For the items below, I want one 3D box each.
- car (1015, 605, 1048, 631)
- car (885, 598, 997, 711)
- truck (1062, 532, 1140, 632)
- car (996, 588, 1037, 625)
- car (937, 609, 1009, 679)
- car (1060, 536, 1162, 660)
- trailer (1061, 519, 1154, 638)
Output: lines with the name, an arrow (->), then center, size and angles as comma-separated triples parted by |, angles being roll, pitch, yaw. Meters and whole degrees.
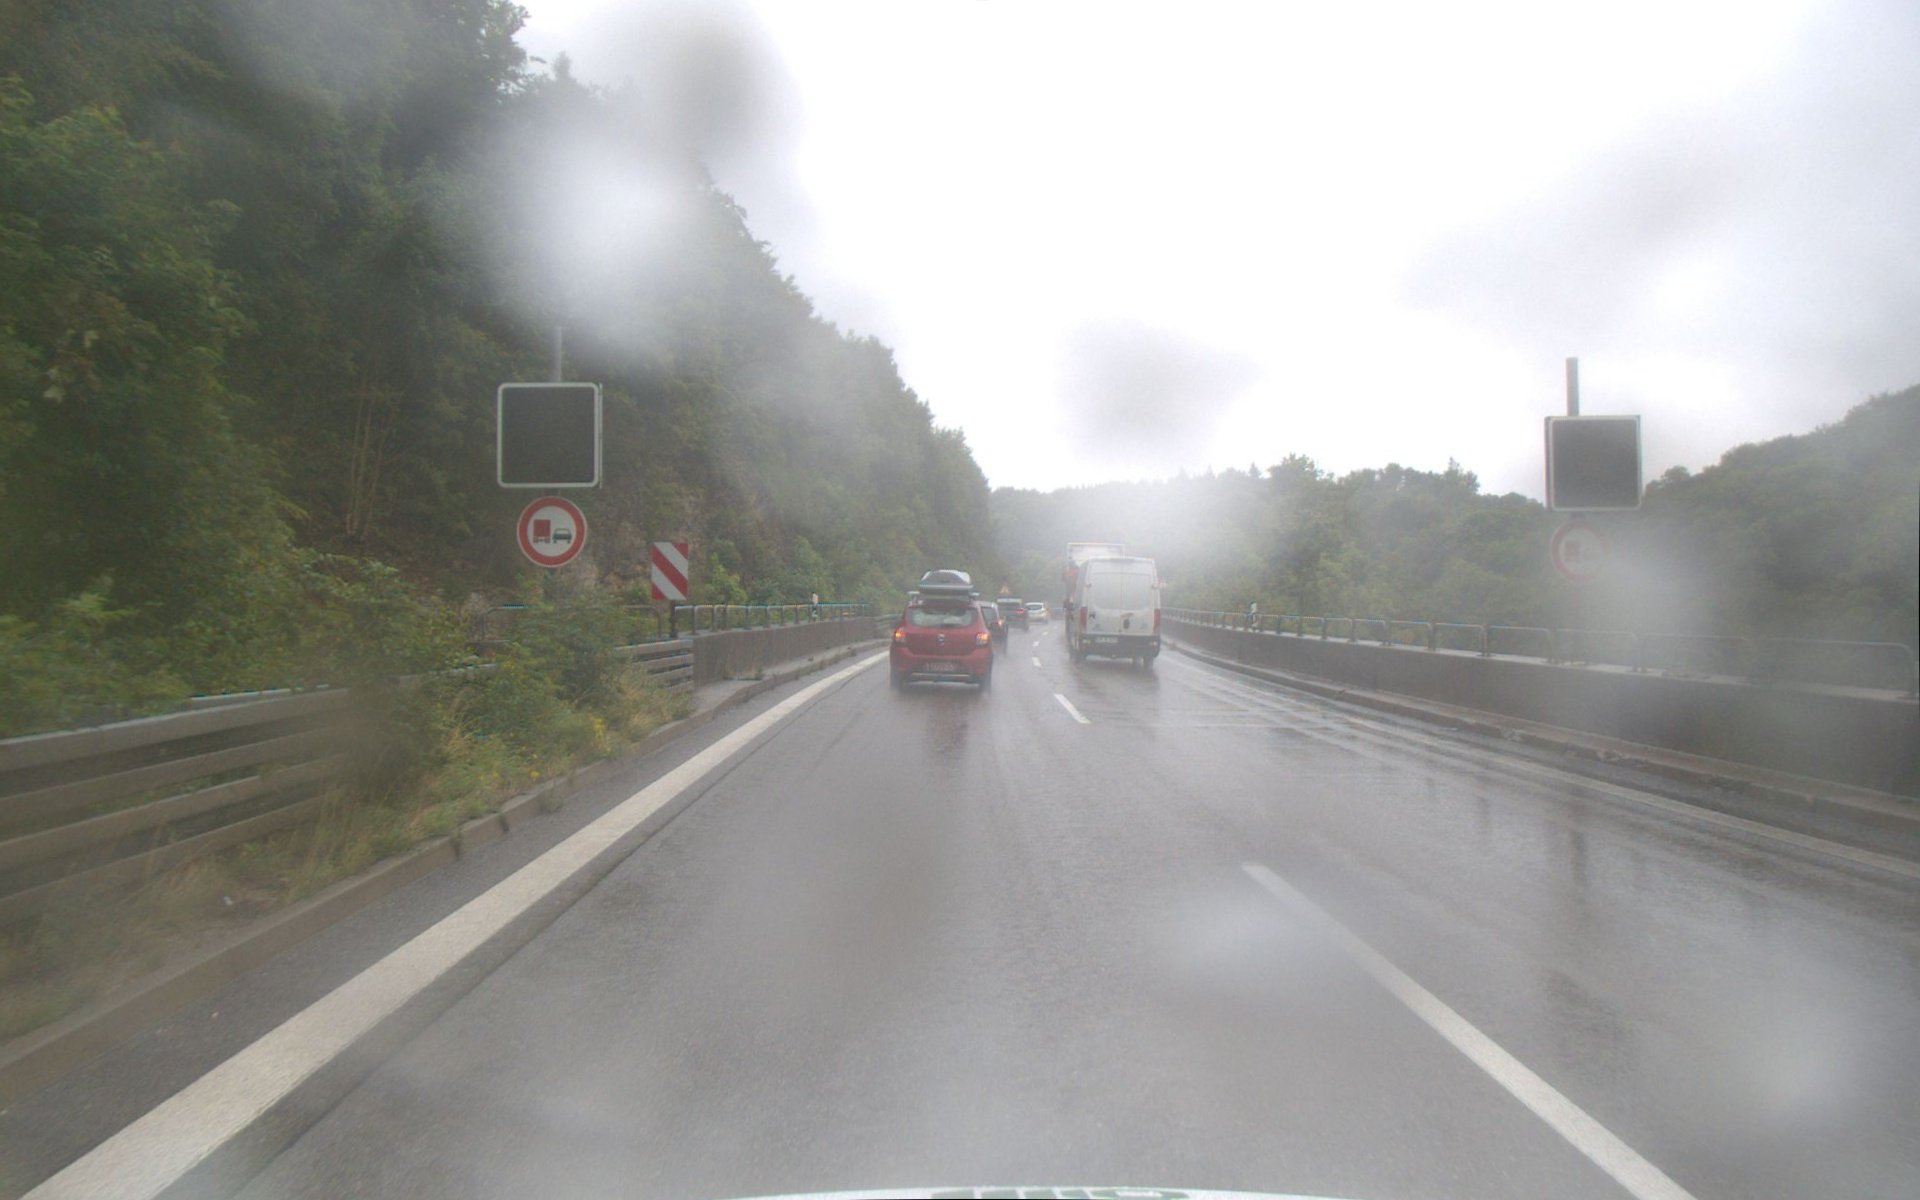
car -> 4.925, 1.193, 113.831 | 1.951, 1.668, 4.002 | -3, 0, 5
car -> -0.369, 0.885, 28.338 | 1.723, 1.714, 3.998 | -3, 0, -2
truck -> 5.926, -0.713, 70.139 | 3.152, 4.047, 5.441 | 0, 0, 4
car -> 2.824, 0.323, 81.840 | 1.835, 1.735, 3.890 | -3, 0, 4
car -> 0.360, 1.153, 44.832 | 1.795, 1.745, 3.645 | -3, 0, 0
car -> 3.730, -0.046, 42.143 | 2.160, 2.843, 7.384 | 1, 0, 2
trailer -> 5.489, -0.724, 63.416 | 3.151, 4.069, 13.530 | 0, 0, 4
